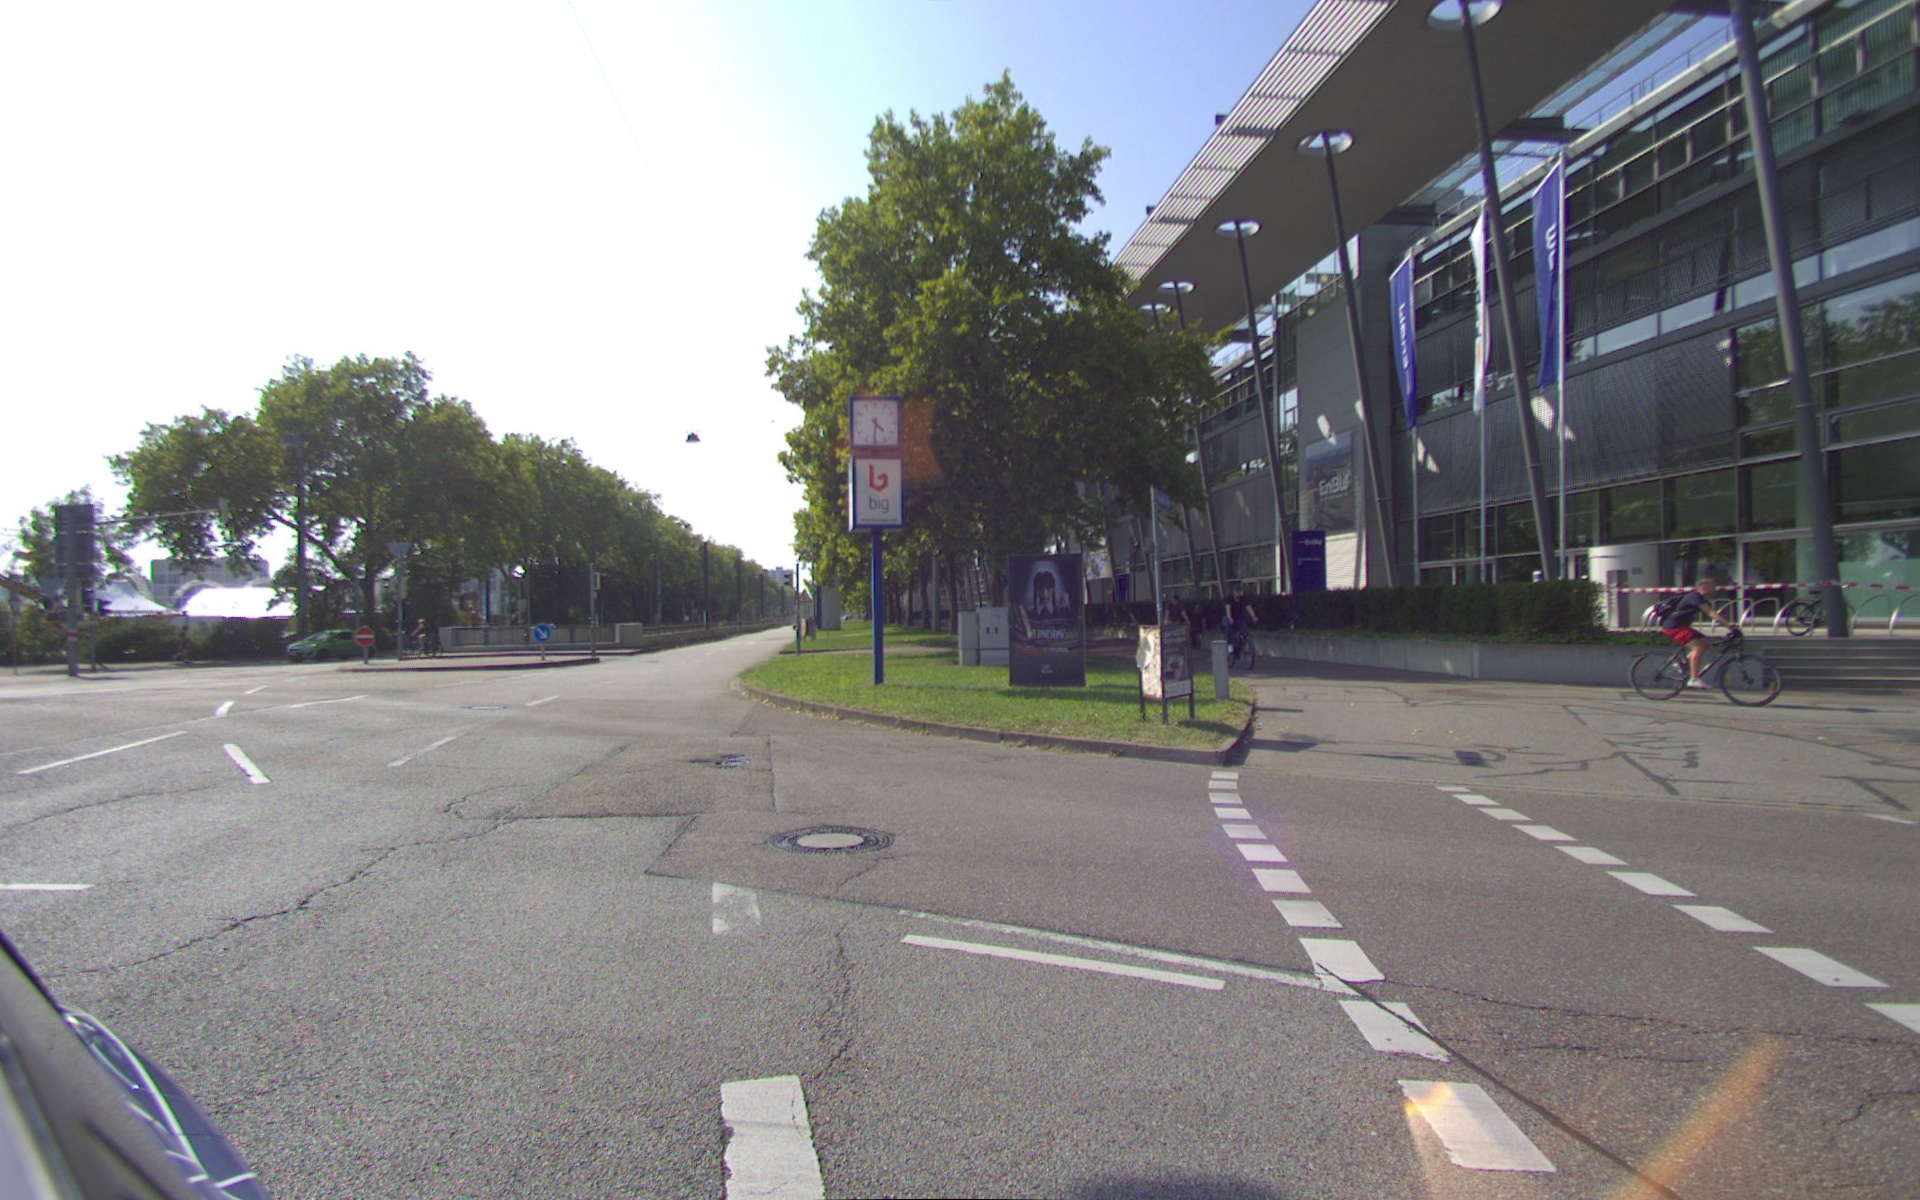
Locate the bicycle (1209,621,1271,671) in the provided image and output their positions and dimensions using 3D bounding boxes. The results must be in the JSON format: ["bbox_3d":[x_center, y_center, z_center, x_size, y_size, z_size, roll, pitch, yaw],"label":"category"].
[{"bbox_3d":[6.431,1.034,23.349,0.675,1.099,1.899,-1,-1,-7],"label":"bicycle"}]

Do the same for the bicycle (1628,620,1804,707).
[{"bbox_3d":[10.662,0.859,14.330,0.647,1.119,1.891,-1,0,-41],"label":"bicycle"}]

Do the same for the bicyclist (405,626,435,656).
[{"bbox_3d":[-21.001,1.583,39.366,0.898,1.149,0.520,-1,-1,8],"label":"bicyclist"}]

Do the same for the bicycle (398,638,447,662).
[{"bbox_3d":[-20.892,1.949,39.347,1.717,0.871,0.529,-1,-1,8],"label":"bicycle"}]

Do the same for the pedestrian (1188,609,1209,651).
[{"bbox_3d":[7.928,0.978,33.597,0.481,1.375,0.539,-1,0,-12],"label":"pedestrian"}]

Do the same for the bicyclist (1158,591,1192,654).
[{"bbox_3d":[5.864,0.612,27.667,0.624,1.701,0.811,-1,-1,-8],"label":"bicyclist"}]

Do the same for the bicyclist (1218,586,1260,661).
[{"bbox_3d":[6.425,0.536,23.344,0.659,1.701,0.810,-1,-1,-6],"label":"bicyclist"}]

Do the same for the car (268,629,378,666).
[{"bbox_3d":[-29.897,2.192,47.592,1.992,1.564,3.959,-2,-1,30],"label":"car"}]

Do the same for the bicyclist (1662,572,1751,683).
[{"bbox_3d":[10.607,0.378,14.393,0.646,1.529,0.887,-1,0,-41],"label":"bicyclist"}]

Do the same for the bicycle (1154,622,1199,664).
[{"bbox_3d":[5.877,1.158,27.602,0.634,1.103,1.653,-1,-1,-9],"label":"bicycle"}]

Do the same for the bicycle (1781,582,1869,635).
[{"bbox_3d":[18.375,0.171,21.487,1.835,1.102,0.529,-1,0,-18],"label":"bicycle"}]
